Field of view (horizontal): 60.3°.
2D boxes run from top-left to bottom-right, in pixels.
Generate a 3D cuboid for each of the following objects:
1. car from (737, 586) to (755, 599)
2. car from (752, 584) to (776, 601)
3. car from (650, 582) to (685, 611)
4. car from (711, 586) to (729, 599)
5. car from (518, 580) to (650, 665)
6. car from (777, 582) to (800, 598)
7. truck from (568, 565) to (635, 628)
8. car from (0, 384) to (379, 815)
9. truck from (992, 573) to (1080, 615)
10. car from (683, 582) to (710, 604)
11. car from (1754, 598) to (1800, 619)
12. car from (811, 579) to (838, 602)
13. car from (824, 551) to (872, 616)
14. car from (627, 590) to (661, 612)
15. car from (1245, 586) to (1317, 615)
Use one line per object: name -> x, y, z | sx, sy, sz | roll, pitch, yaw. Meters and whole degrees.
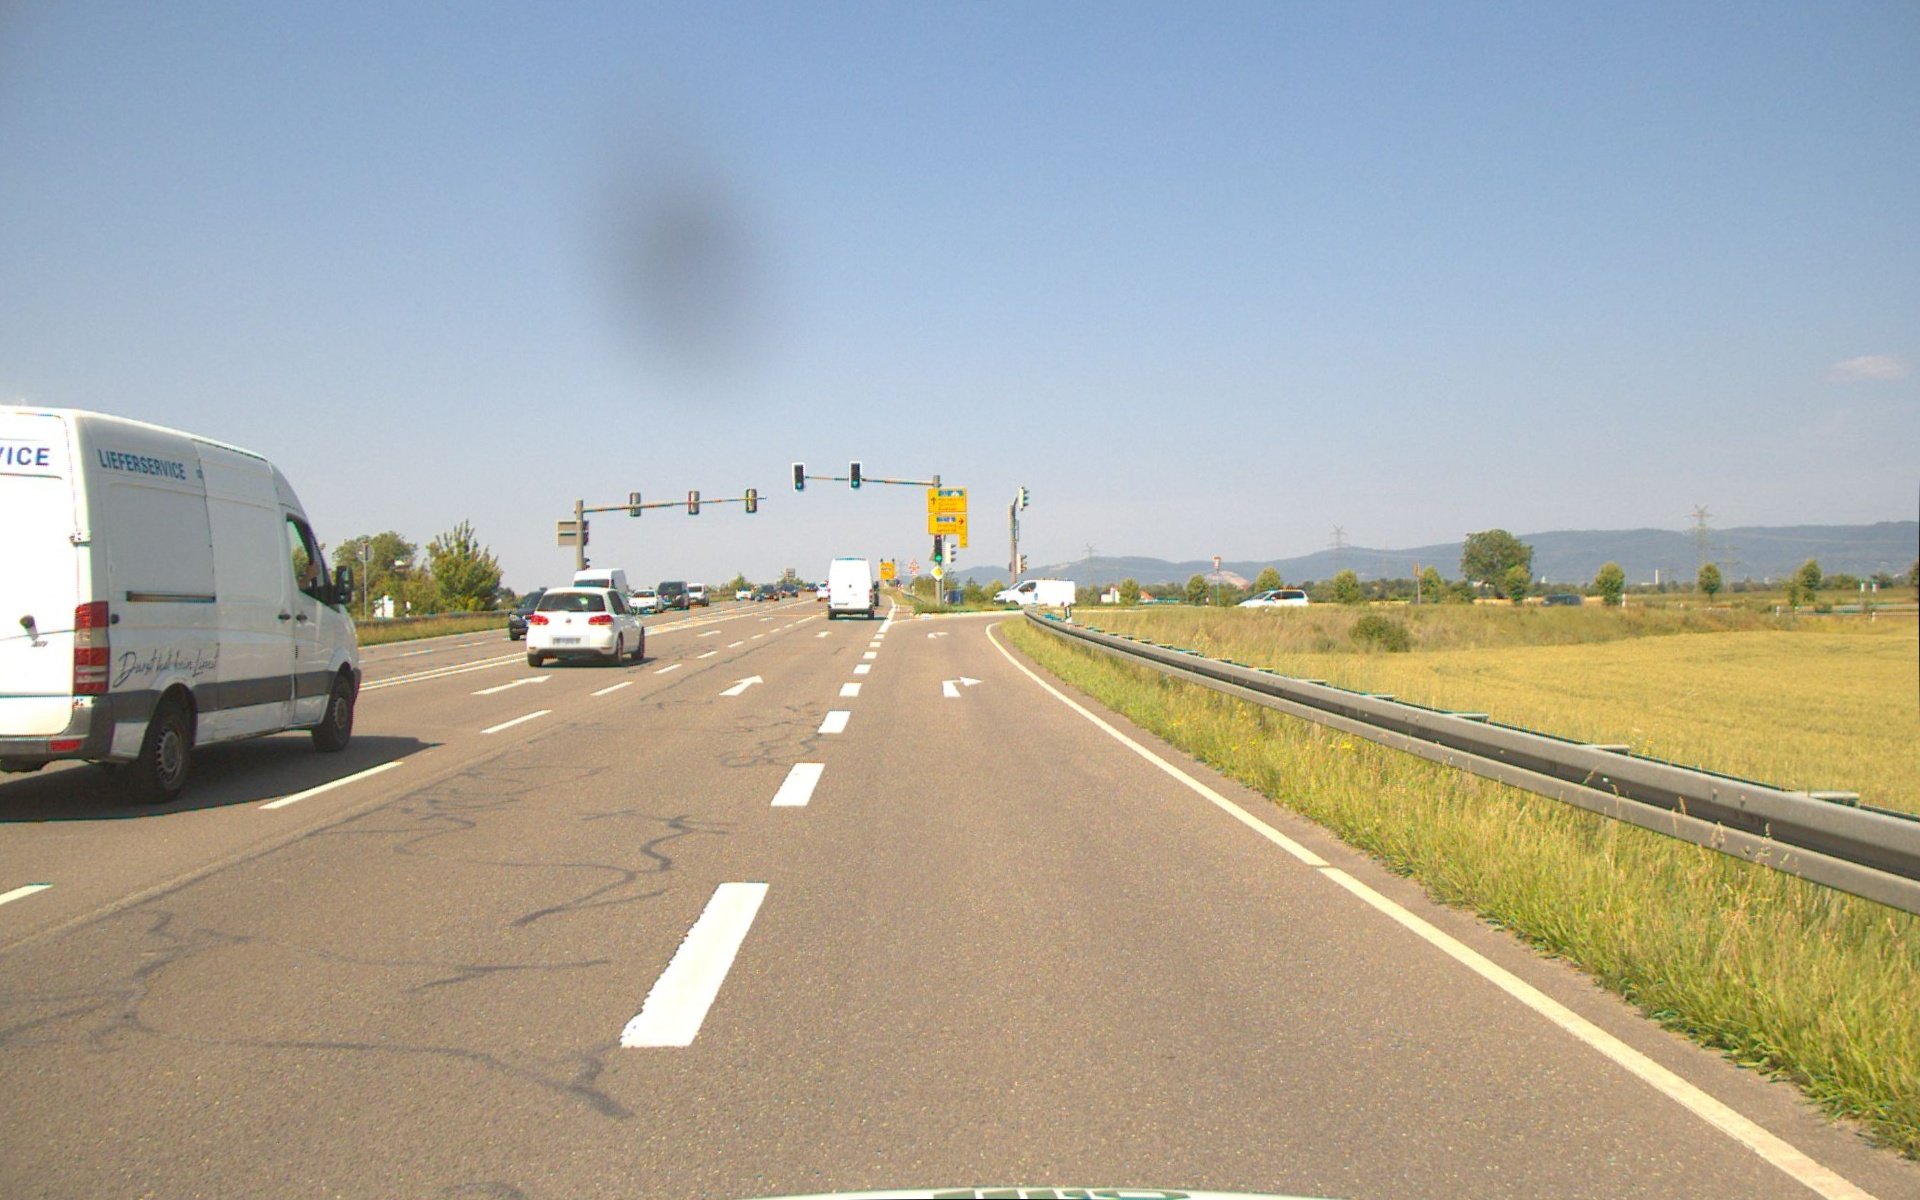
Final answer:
car -> -21.765, -0.744, 168.327 | 1.433, 1.296, 3.331 | 0, -1, -1
car -> -17.903, -0.692, 151.255 | 1.601, 1.512, 4.000 | 1, -1, 1
car -> -19.564, -0.201, 110.715 | 1.835, 1.920, 3.331 | 0, -1, -1
car -> -24.877, -0.748, 171.400 | 1.433, 1.296, 3.331 | 0, -1, -1
car -> -7.264, 0.391, 32.335 | 1.763, 1.534, 4.194 | 0, 0, -2
car -> -18.927, -1.131, 182.816 | 1.952, 1.646, 4.000 | 1, -1, 2
truck -> -17.790, -0.136, 82.350 | 2.250, 3.009, 5.281 | 0, -1, -1
car -> -6.476, -0.029, 13.061 | 1.998, 2.665, 5.738 | 0, 0, -3
truck -> 4.450, -0.353, 96.561 | 4.766, 2.361, 1.991 | 1, -1, -17
car -> -20.107, -0.499, 126.087 | 1.569, 1.609, 3.331 | 0, -1, -1
car -> 61.921, 0.669, 125.369 | 3.440, 1.512, 1.631 | 1, -1, -33
car -> -10.954, -0.738, 133.979 | 1.953, 1.733, 4.273 | 1, -1, -2
car -> -4.833, -0.688, 71.842 | 1.953, 2.742, 4.967 | 0, 0, -2
car -> -18.910, 0.076, 98.990 | 1.433, 1.296, 3.331 | 0, -1, -1
car -> 19.745, 0.052, 101.775 | 3.937, 1.713, 1.984 | 1, -1, -26
